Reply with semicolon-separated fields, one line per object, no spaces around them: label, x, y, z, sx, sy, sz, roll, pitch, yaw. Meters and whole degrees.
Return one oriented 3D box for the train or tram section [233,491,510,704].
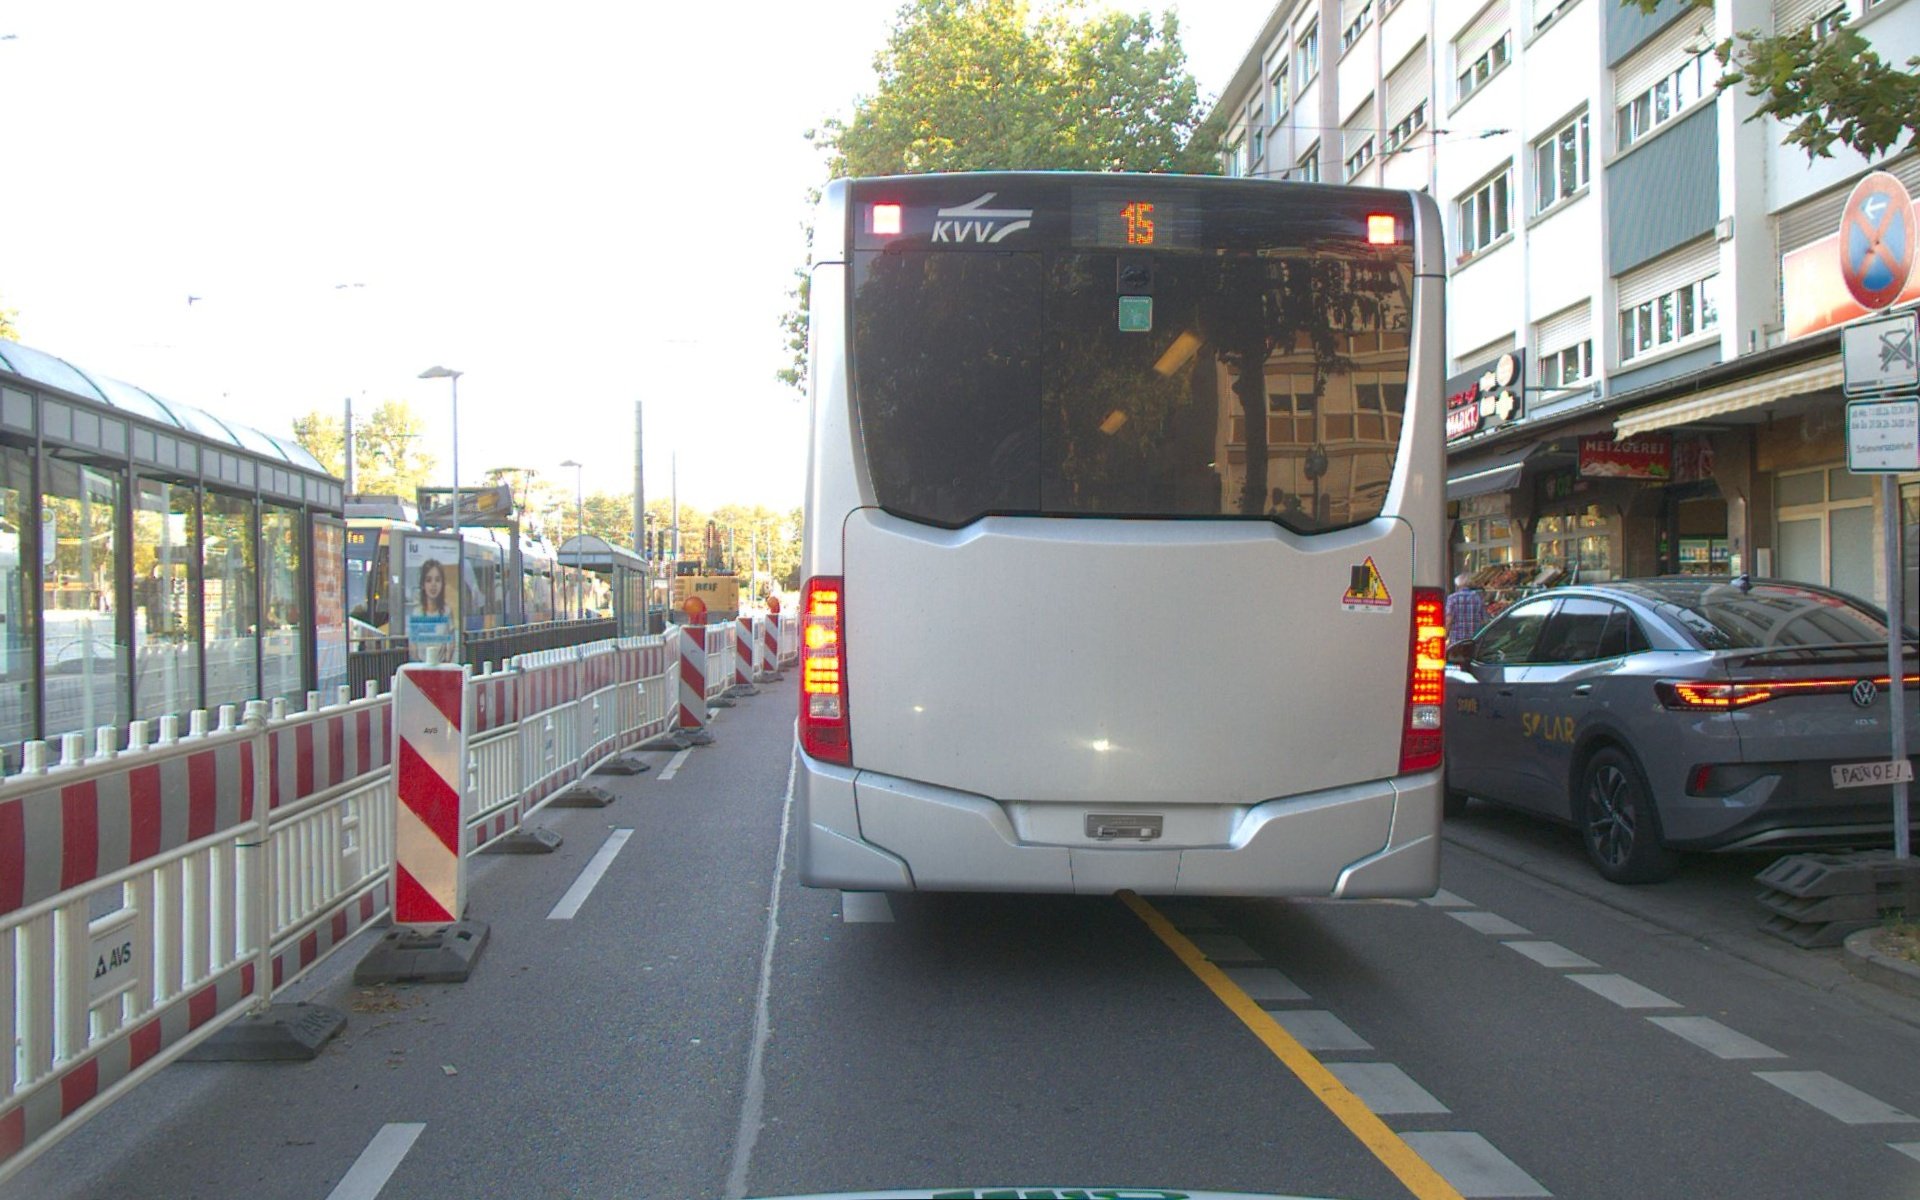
train or tram section;-11.668;-0.019;34.214;2.635;3.595;11.755;1;0;-6

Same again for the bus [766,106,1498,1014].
bus;0.566;-0.128;9.895;2.558;3.181;7.991;1;0;-1

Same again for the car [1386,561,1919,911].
car;4.364;0.626;10.198;1.955;1.609;4.363;-3;1;-5

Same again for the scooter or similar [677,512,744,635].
scooter or similar;-9.713;-0.991;64.601;2.422;4.549;5.962;0;0;-8

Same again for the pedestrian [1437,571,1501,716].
pedestrian;6.088;0.515;19.808;0.649;1.696;0.601;-2;-1;15

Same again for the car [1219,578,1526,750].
car;4.434;0.614;18.534;1.955;1.609;4.363;-3;1;-5

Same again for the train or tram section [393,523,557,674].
train or tram section;-13.108;-0.020;45.720;2.636;3.621;11.560;1;0;-8

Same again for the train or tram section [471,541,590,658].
train or tram section;-14.653;0.011;57.202;2.636;3.594;11.559;1;0;-8
